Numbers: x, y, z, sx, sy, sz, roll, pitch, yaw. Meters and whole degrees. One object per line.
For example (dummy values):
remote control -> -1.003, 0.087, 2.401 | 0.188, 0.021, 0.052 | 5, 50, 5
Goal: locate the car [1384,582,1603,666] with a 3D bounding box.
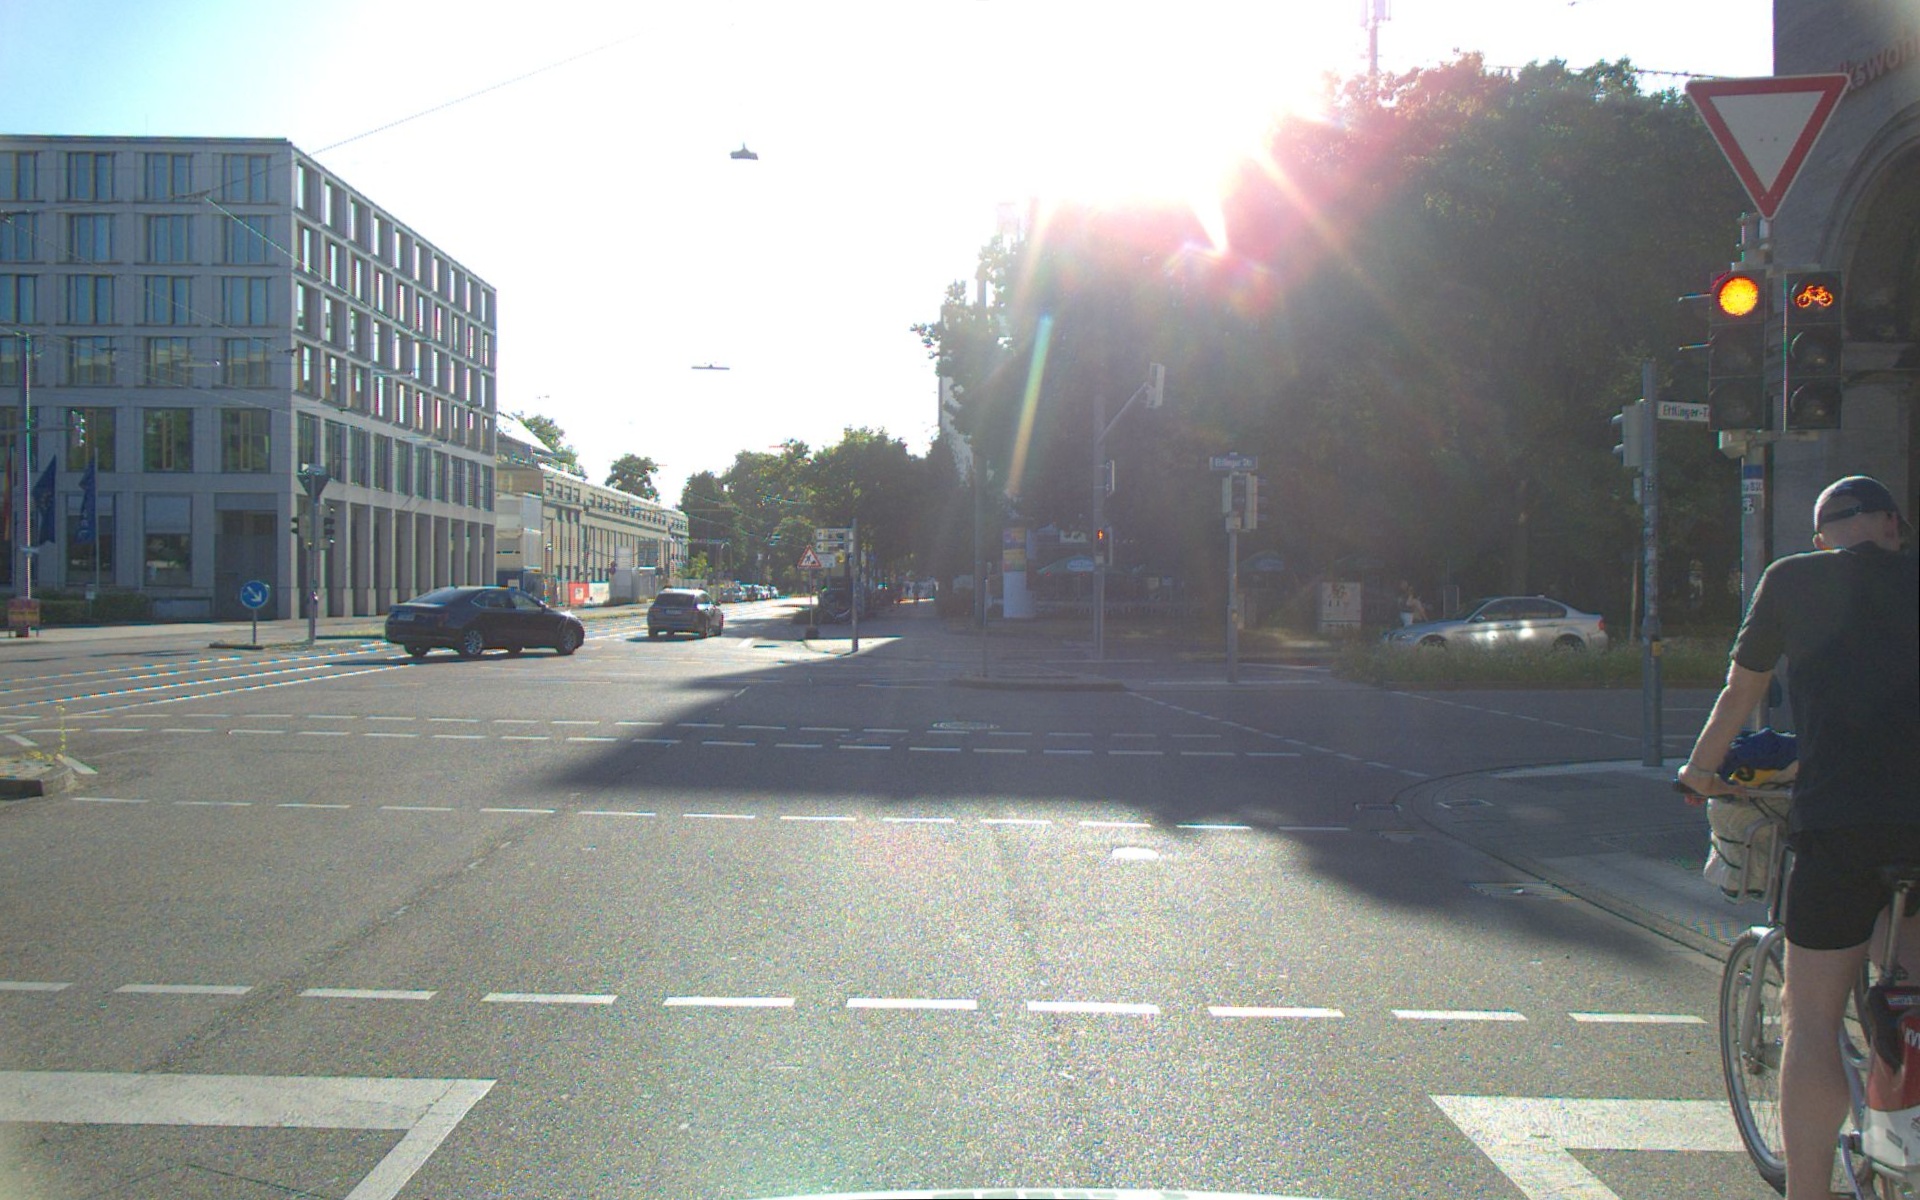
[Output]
car -> 10.775, 0.475, 33.573 | 3.912, 1.639, 1.650 | 0, 0, -1

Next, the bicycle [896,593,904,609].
bicycle -> -4.232, 0.079, 117.113 | 0.563, 1.096, 1.830 | 0, 0, -1

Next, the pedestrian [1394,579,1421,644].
pedestrian -> 11.960, 0.300, 44.202 | 0.571, 1.692, 0.514 | 1, 1, 1

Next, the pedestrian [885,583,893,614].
pedestrian -> -4.222, -0.100, 98.257 | 0.454, 1.845, 0.502 | 0, 0, -5

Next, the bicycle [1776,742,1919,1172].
bicycle -> 2.867, 1.002, 4.348 | 0.523, 1.096, 1.750 | 1, 0, -2

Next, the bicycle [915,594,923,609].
bicycle -> -2.922, 0.103, 116.959 | 0.563, 1.096, 1.830 | 0, 0, -1

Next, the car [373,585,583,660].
car -> -10.195, 0.455, 35.296 | 1.629, 1.481, 4.424 | 1, 0, 29

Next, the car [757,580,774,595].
car -> -22.847, -1.451, 194.368 | 1.659, 1.748, 4.244 | 1, 0, -4

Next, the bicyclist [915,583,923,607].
bicyclist -> -2.914, -0.368, 116.972 | 0.558, 1.721, 0.699 | 0, 0, -1

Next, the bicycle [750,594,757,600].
bicycle -> -17.778, -0.238, 142.608 | 0.491, 0.524, 1.257 | 1, 0, -2

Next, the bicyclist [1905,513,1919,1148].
bicyclist -> 2.891, 0.629, 4.241 | 0.546, 1.721, 0.640 | 1, 0, -2

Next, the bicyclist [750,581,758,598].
bicyclist -> -17.752, -0.906, 142.675 | 0.584, 1.401, 0.637 | 1, -1, -2

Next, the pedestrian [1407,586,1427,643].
pedestrian -> 12.351, 0.390, 44.705 | 0.430, 1.529, 0.437 | 0, 0, 0

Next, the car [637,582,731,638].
car -> -8.664, 0.286, 52.398 | 1.853, 1.592, 4.810 | 3, 0, 3

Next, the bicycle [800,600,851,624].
bicycle -> -5.488, 0.503, 67.393 | 1.976, 0.907, 0.650 | -2, -1, 27

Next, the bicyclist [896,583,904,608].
bicyclist -> -4.241, -0.325, 117.052 | 0.558, 1.721, 0.699 | 0, 0, -1

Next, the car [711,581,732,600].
car -> -22.484, -0.910, 156.119 | 1.659, 1.748, 4.244 | 1, 0, -4

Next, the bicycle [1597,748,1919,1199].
bicycle -> 2.079, 0.983, 3.900 | 0.505, 1.096, 1.728 | 1, 0, 1

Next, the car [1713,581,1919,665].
car -> 17.527, 0.446, 33.563 | 3.770, 1.639, 1.650 | 0, 0, -1

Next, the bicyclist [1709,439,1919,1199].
bicyclist -> 2.098, 0.580, 3.742 | 0.547, 1.830, 0.550 | 1, 0, 1
